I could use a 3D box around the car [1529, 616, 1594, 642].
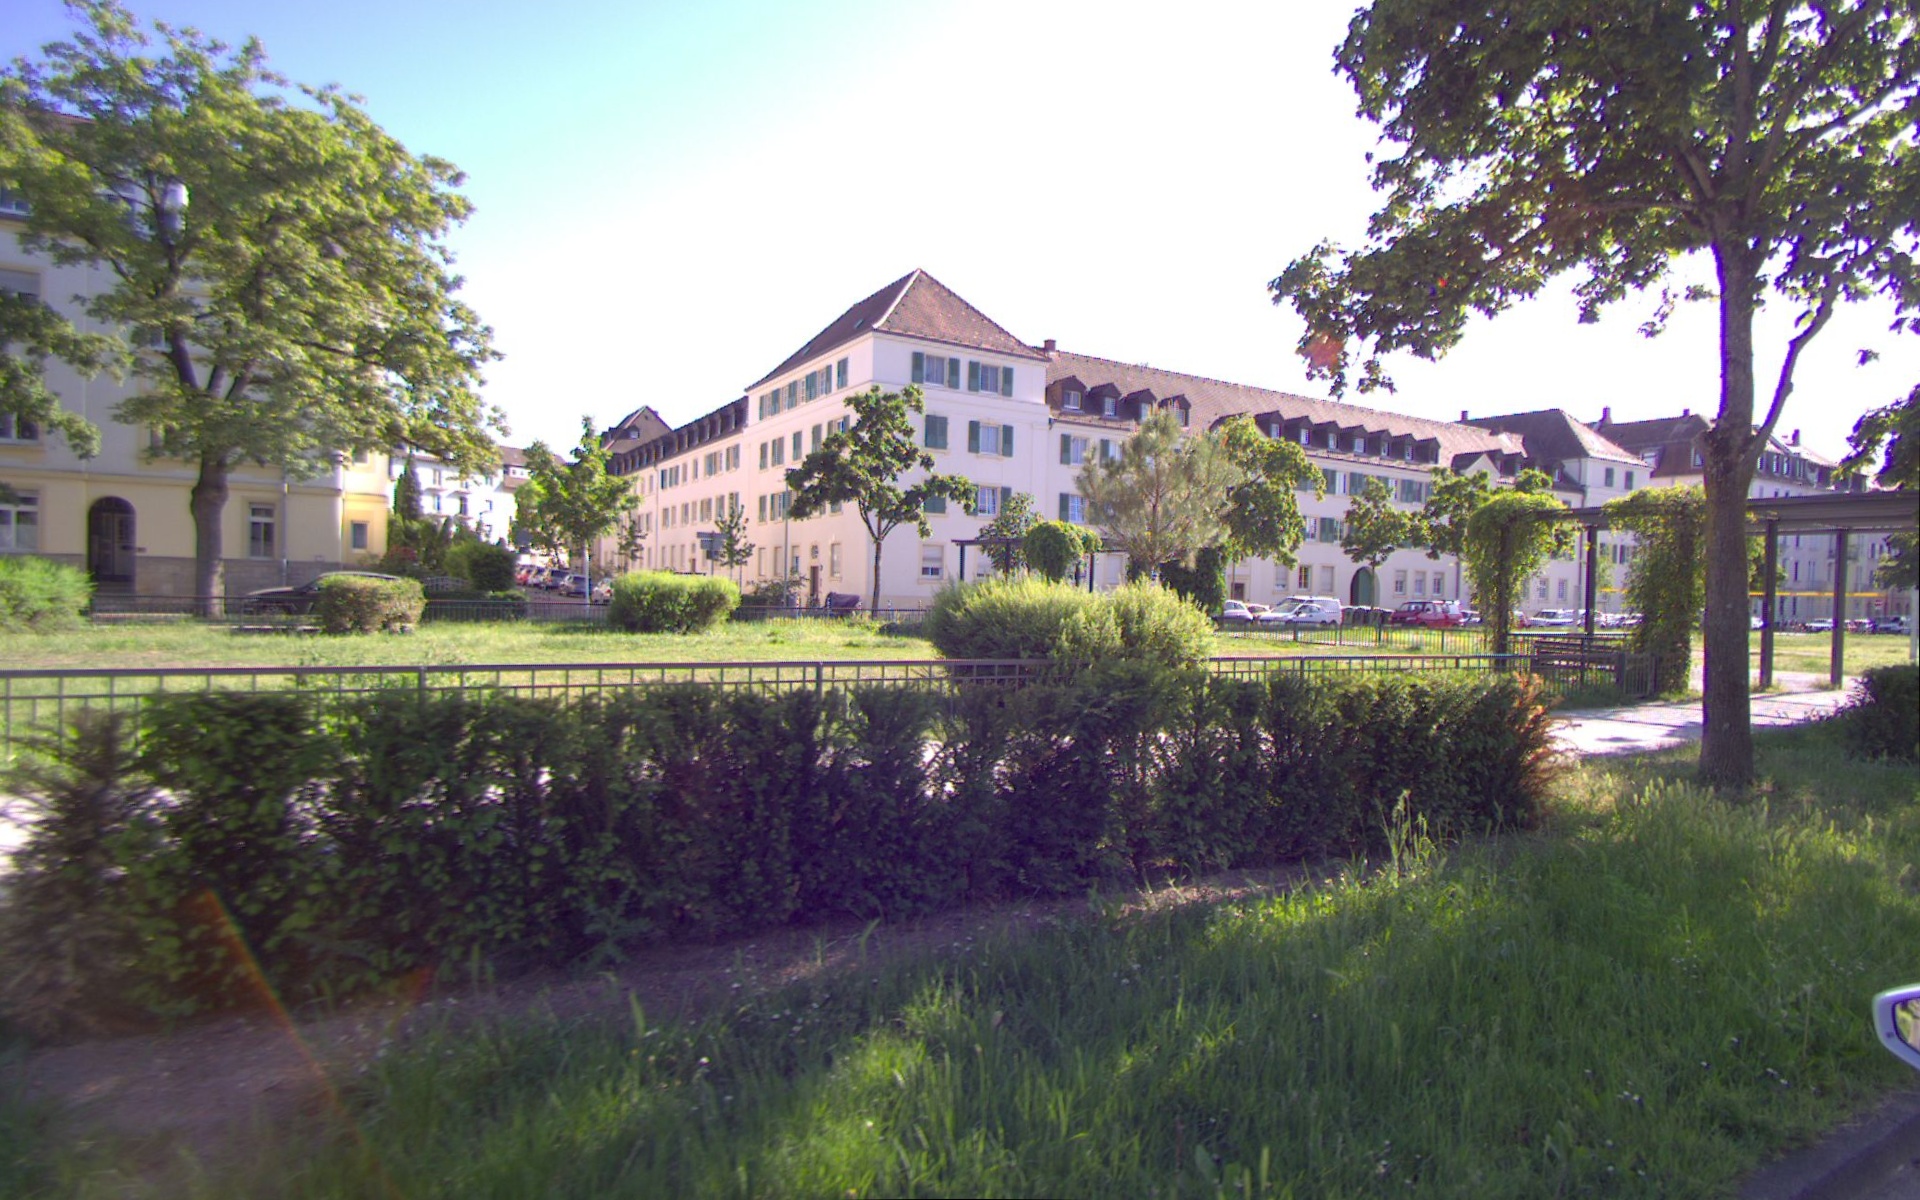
[{"bbox_3d":[37.907,1.797,63.257,3.953,1.530,1.785,1,1,-30],"label":"car"}]

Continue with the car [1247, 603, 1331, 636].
[{"bbox_3d":[16.250,0.948,49.582,3.953,1.530,1.785,1,1,-30],"label":"car"}]

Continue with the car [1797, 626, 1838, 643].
[{"bbox_3d":[82.238,3.273,96.352,3.954,1.530,1.785,1,1,-31],"label":"car"}]

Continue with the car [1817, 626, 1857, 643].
[{"bbox_3d":[86.768,3.396,99.318,3.953,1.530,1.785,1,1,-30],"label":"car"}]

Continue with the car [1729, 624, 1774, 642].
[{"bbox_3d":[71.522,2.949,90.756,3.953,1.530,1.785,1,1,-30],"label":"car"}]

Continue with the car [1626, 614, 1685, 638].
[{"bbox_3d":[47.746,1.794,68.912,3.953,1.530,1.785,1,1,-30],"label":"car"}]

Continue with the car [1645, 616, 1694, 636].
[{"bbox_3d":[58.263,2.135,82.445,3.953,1.530,1.785,1,1,-30],"label":"car"}]

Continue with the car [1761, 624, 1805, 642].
[{"bbox_3d":[76.576,3.074,93.448,4.095,1.530,1.785,1,1,-30],"label":"car"}]

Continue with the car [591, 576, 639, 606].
[{"bbox_3d":[-19.053,-0.518,55.371,1.779,1.530,3.967,1,1,-30],"label":"car"}]

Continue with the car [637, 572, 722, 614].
[{"bbox_3d":[-12.113,-0.322,43.300,3.945,1.674,1.789,2,1,44],"label":"car"}]

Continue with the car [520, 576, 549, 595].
[{"bbox_3d":[-35.728,-1.220,84.313,1.779,1.530,3.967,1,1,-30],"label":"car"}]

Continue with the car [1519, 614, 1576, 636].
[{"bbox_3d":[42.127,1.799,72.002,3.953,1.530,1.785,1,1,-30],"label":"car"}]

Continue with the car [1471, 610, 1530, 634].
[{"bbox_3d":[37.097,1.514,68.946,3.953,1.530,1.785,1,1,-30],"label":"car"}]

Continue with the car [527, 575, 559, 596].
[{"bbox_3d":[-33.004,-1.173,79.402,1.779,1.530,3.967,1,1,-30],"label":"car"}]

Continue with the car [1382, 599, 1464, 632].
[{"bbox_3d":[25.610,0.873,55.536,4.647,1.733,1.785,1,1,-30],"label":"car"}]

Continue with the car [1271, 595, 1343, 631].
[{"bbox_3d":[20.196,0.761,58.376,3.953,1.935,1.785,1,1,-30],"label":"car"}]

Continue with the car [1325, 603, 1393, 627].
[{"bbox_3d":[24.423,0.923,61.491,3.953,1.403,1.785,1,1,-30],"label":"car"}]

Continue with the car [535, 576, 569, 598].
[{"bbox_3d":[-29.833,-0.981,73.363,1.779,1.530,3.967,1,1,-30],"label":"car"}]

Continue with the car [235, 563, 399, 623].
[{"bbox_3d":[-20.982,-0.214,32.961,4.407,1.840,1.784,1,1,-32],"label":"car"}]

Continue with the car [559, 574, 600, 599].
[{"bbox_3d":[-24.344,-0.878,64.214,1.779,1.530,3.967,1,1,-30],"label":"car"}]
